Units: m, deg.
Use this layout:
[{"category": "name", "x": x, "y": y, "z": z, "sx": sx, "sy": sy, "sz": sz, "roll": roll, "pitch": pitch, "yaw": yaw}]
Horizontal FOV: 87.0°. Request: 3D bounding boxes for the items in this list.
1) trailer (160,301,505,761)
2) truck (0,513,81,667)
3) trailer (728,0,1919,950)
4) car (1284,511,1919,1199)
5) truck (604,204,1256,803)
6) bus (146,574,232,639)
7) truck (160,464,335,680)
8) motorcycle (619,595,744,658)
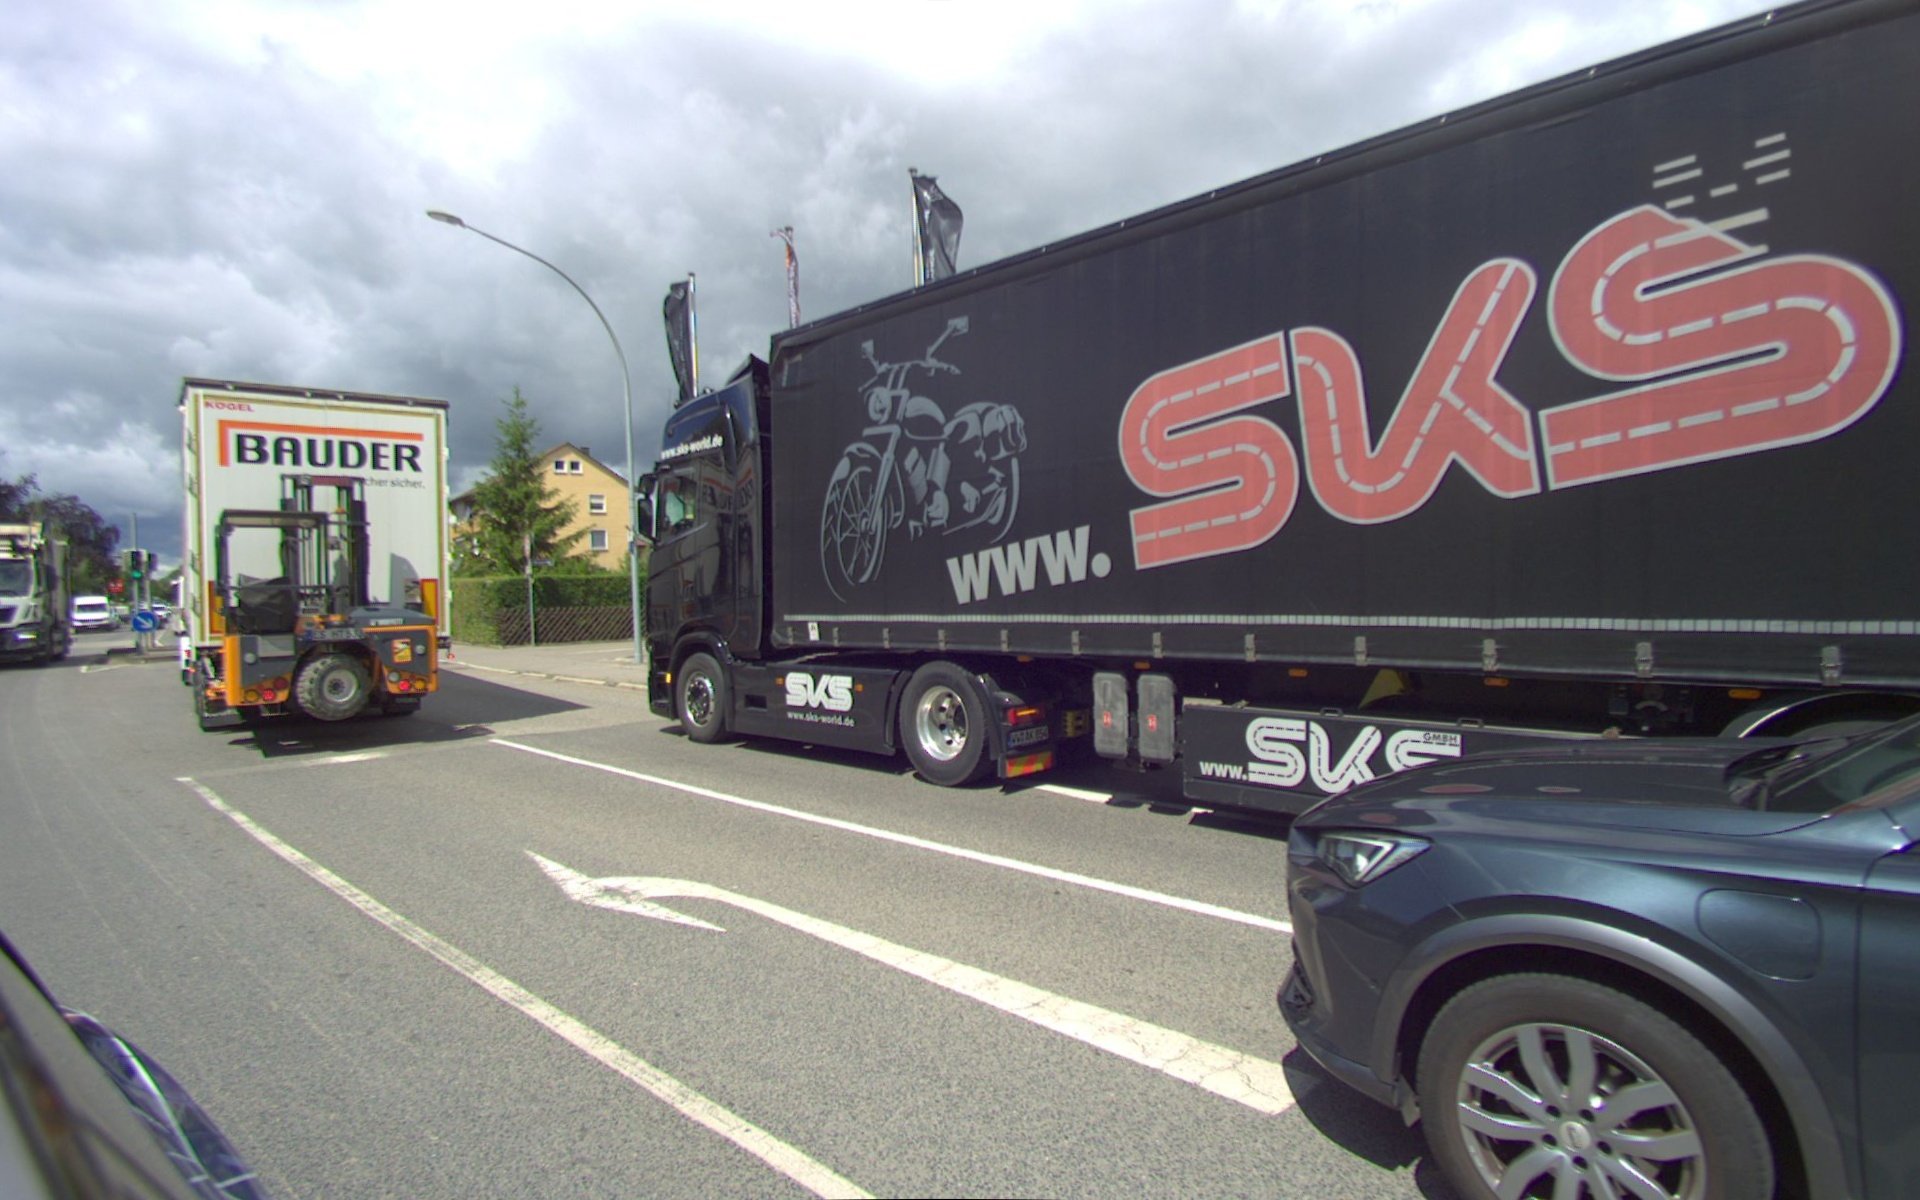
[{"category": "trailer", "x": -10.833, "y": -0.641, "z": 16.064, "sx": 2.736, "sy": 4.176, "sz": 15.380, "roll": -2, "pitch": 1, "yaw": -39}, {"category": "truck", "x": -27.300, "y": -0.218, "z": 28.708, "sx": 2.623, "sy": 3.840, "sz": 9.839, "roll": -2, "pitch": 1, "yaw": -36}, {"category": "trailer", "x": 4.336, "y": -0.719, "z": 5.208, "sx": 15.562, "sy": 4.083, "sz": 2.767, "roll": -1, "pitch": 1, "yaw": 45}, {"category": "car", "x": 2.980, "y": 0.580, "z": 1.751, "sx": 4.251, "sy": 1.474, "sz": 1.820, "roll": -1, "pitch": -1, "yaw": 41}, {"category": "truck", "x": -0.708, "y": -0.673, "z": 10.193, "sx": 6.504, "sy": 4.083, "sz": 2.768, "roll": -1, "pitch": 1, "yaw": 45}, {"category": "bus", "x": -40.981, "y": 0.310, "z": 53.565, "sx": 2.686, "sy": 3.053, "sz": 12.282, "roll": -1, "pitch": 0, "yaw": -42}, {"category": "truck", "x": -15.779, "y": -0.575, "z": 22.292, "sx": 2.736, "sy": 4.150, "sz": 4.996, "roll": -2, "pitch": 1, "yaw": -39}, {"category": "motorcycle", "x": -6.296, "y": 0.584, "z": 23.060, "sx": 2.418, "sy": 1.301, "sz": 1.466, "roll": -1, "pitch": 1, "yaw": 0}]
